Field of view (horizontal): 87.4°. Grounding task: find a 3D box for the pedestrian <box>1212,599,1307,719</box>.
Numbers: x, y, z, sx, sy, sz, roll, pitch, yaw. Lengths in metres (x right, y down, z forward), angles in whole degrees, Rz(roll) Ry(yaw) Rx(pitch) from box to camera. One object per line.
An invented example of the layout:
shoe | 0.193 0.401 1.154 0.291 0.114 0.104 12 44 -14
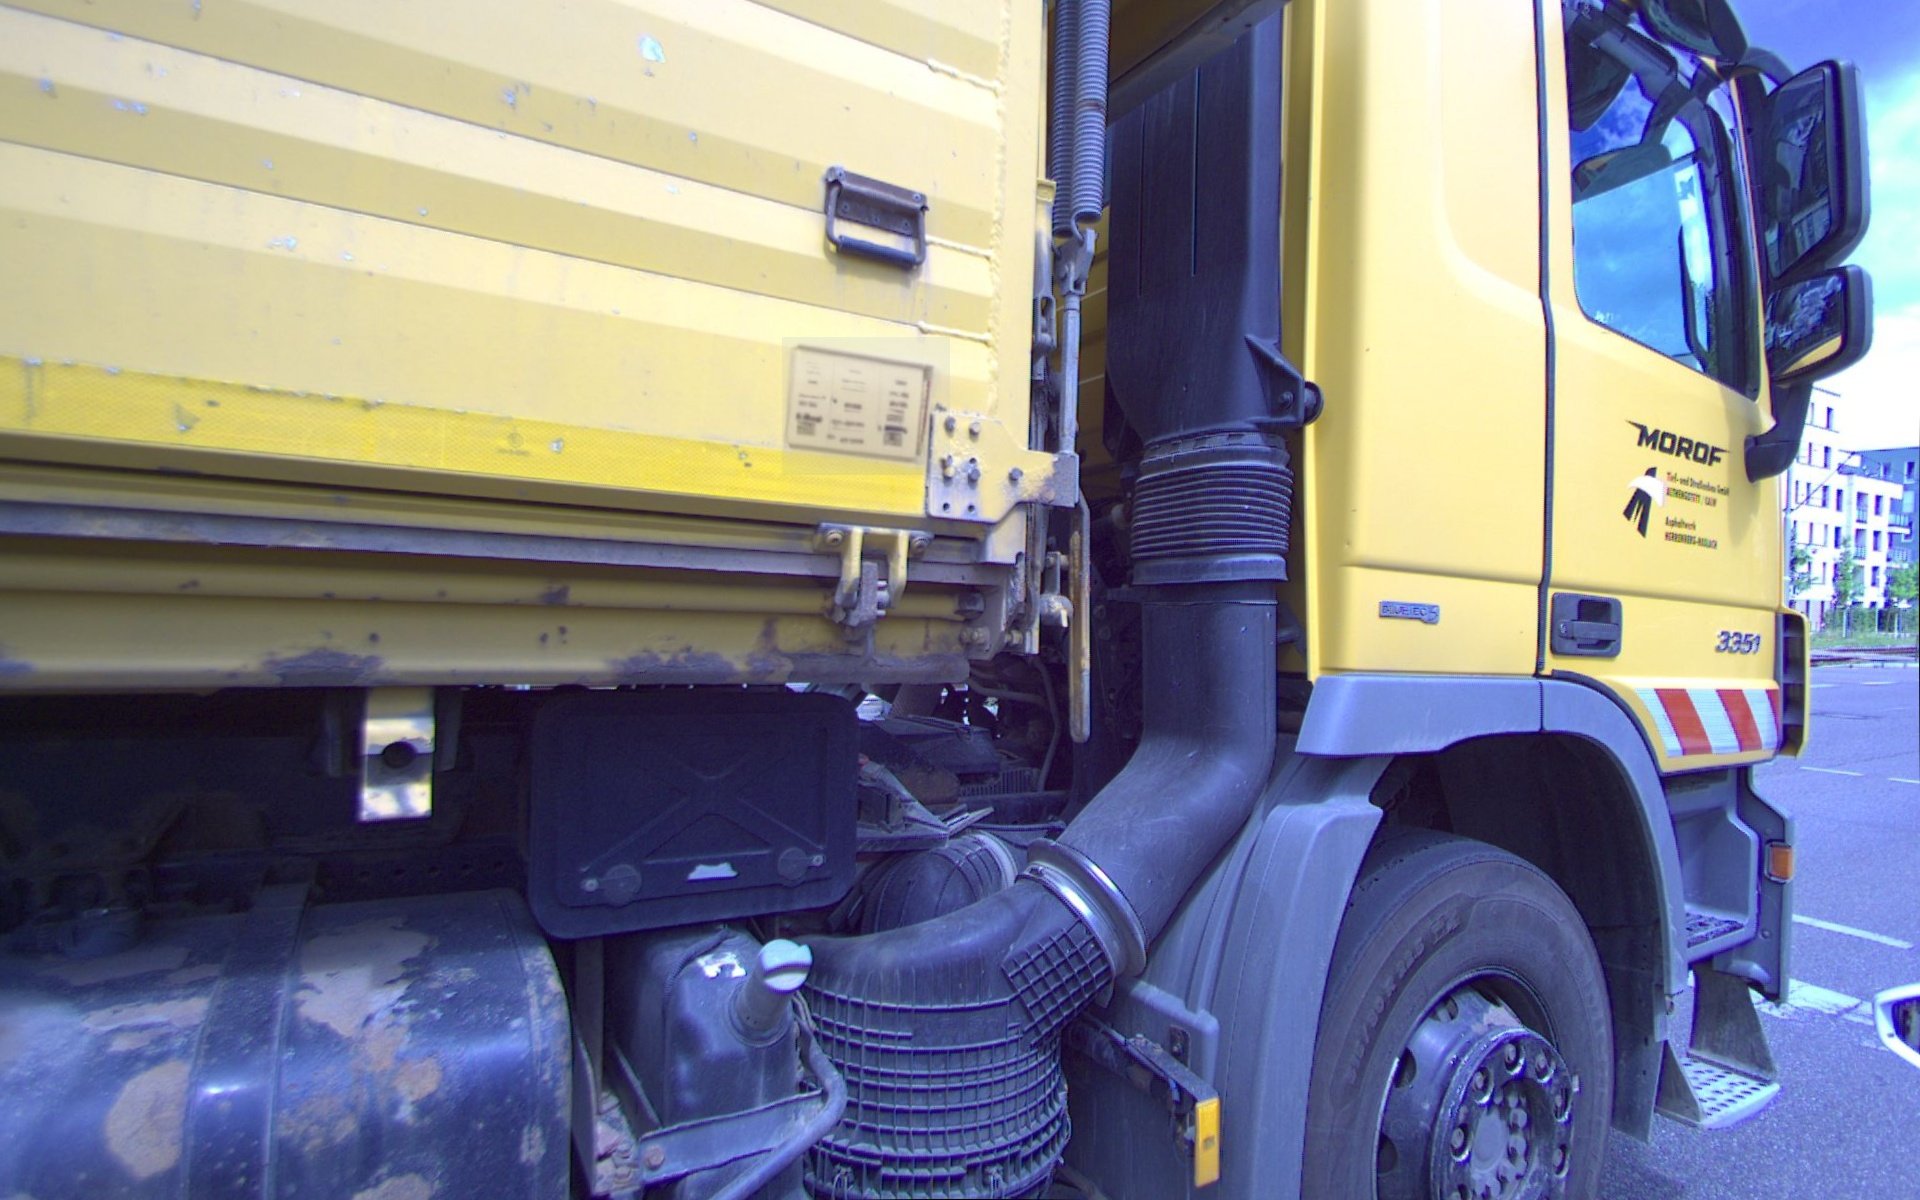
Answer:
pedestrian | 4.119 0.775 13.848 0.836 1.573 0.938 1 0 -39

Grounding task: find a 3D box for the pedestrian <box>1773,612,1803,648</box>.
pedestrian | 35.518 1.288 43.077 0.628 1.536 0.827 1 0 -30

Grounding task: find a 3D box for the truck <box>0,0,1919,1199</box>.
truck | -1.702 -0.235 1.666 7.916 3.439 3.033 1 0 -32
